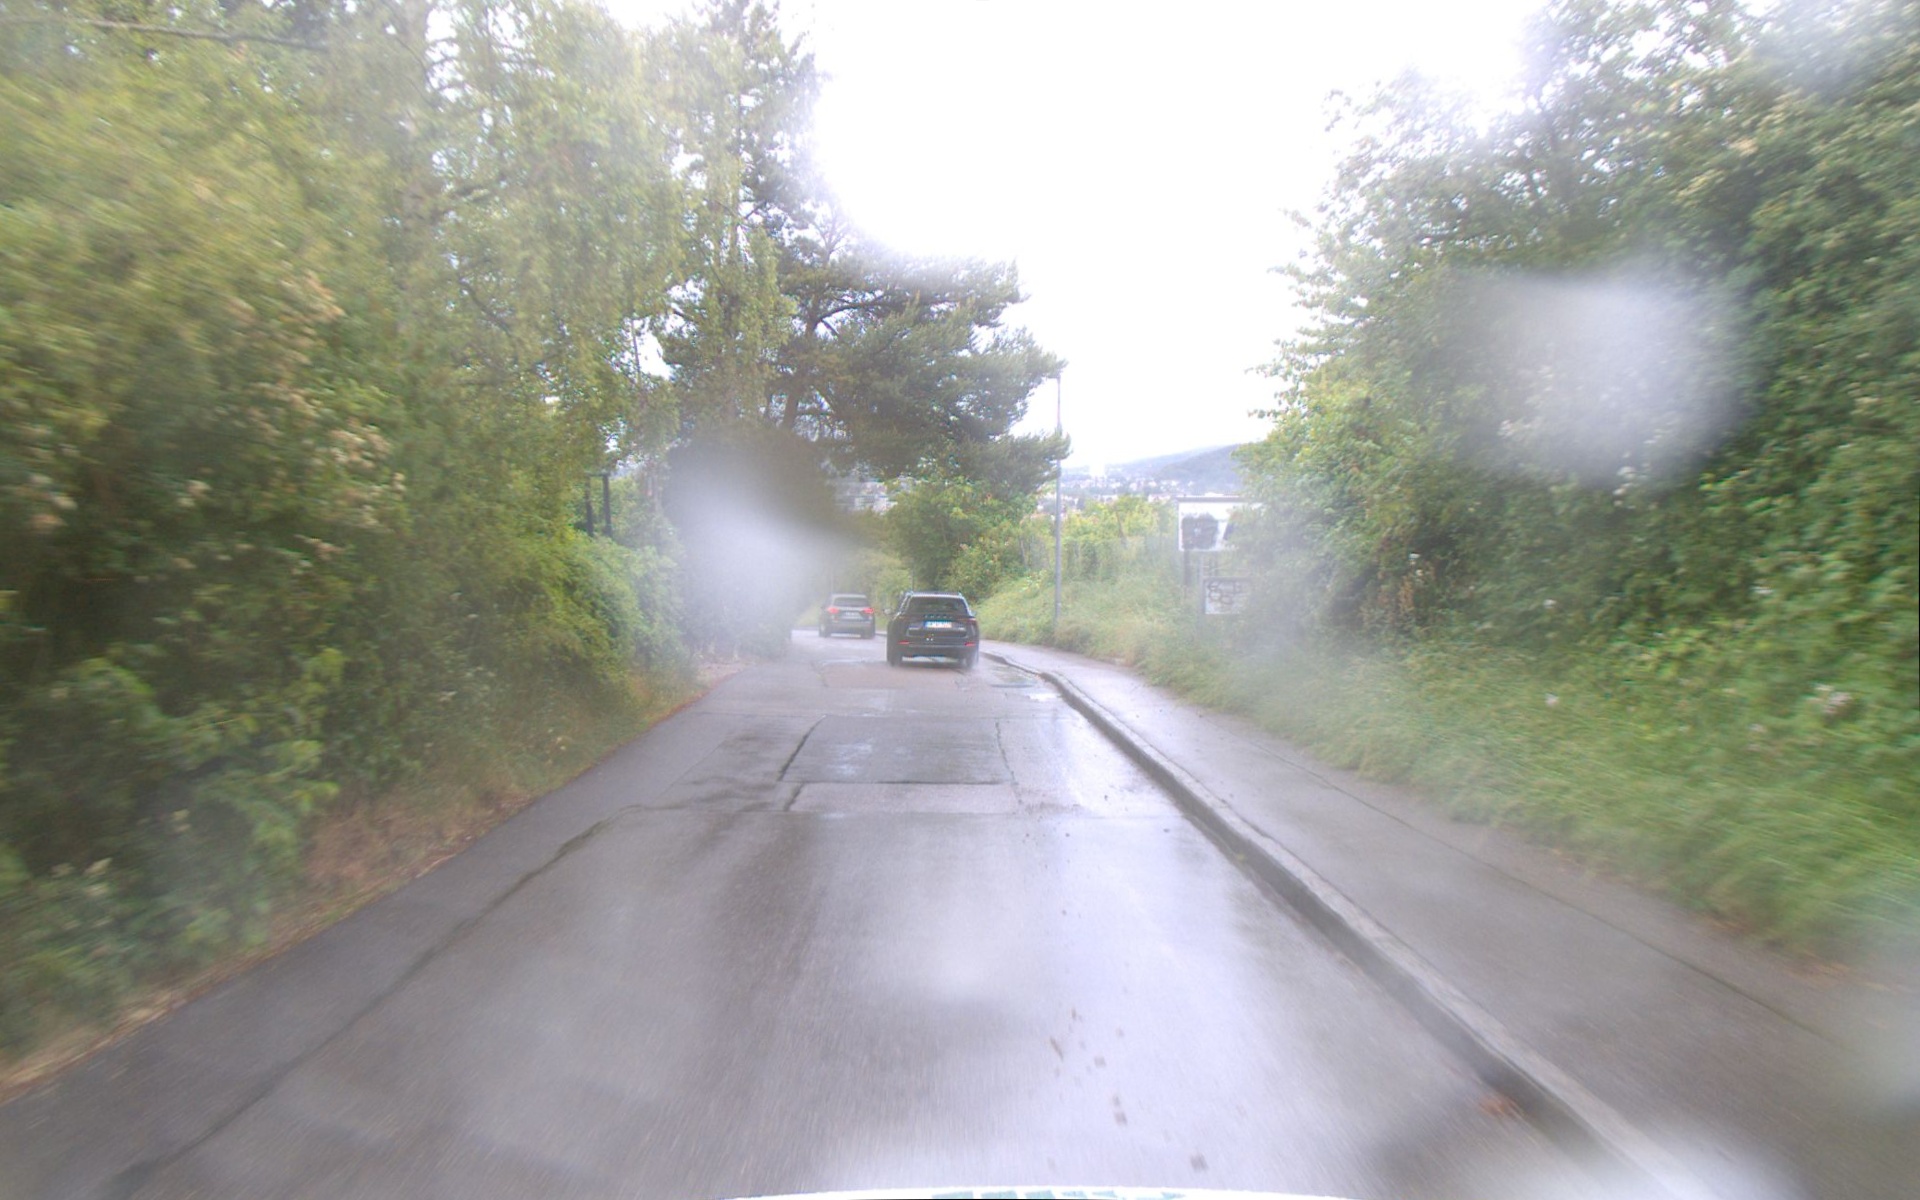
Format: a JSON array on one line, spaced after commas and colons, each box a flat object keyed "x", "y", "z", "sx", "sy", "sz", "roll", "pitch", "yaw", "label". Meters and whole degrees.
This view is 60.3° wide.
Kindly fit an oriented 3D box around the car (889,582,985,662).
[{"x": -0.488, "y": 0.412, "z": 33.049, "sx": 1.798, "sy": 1.489, "sz": 3.998, "roll": 0, "pitch": 0, "yaw": -2, "label": "car"}]

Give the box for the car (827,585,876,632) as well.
[{"x": -3.892, "y": 0.267, "z": 58.958, "sx": 1.645, "sy": 1.592, "sz": 3.790, "roll": 1, "pitch": 1, "yaw": -5, "label": "car"}]
